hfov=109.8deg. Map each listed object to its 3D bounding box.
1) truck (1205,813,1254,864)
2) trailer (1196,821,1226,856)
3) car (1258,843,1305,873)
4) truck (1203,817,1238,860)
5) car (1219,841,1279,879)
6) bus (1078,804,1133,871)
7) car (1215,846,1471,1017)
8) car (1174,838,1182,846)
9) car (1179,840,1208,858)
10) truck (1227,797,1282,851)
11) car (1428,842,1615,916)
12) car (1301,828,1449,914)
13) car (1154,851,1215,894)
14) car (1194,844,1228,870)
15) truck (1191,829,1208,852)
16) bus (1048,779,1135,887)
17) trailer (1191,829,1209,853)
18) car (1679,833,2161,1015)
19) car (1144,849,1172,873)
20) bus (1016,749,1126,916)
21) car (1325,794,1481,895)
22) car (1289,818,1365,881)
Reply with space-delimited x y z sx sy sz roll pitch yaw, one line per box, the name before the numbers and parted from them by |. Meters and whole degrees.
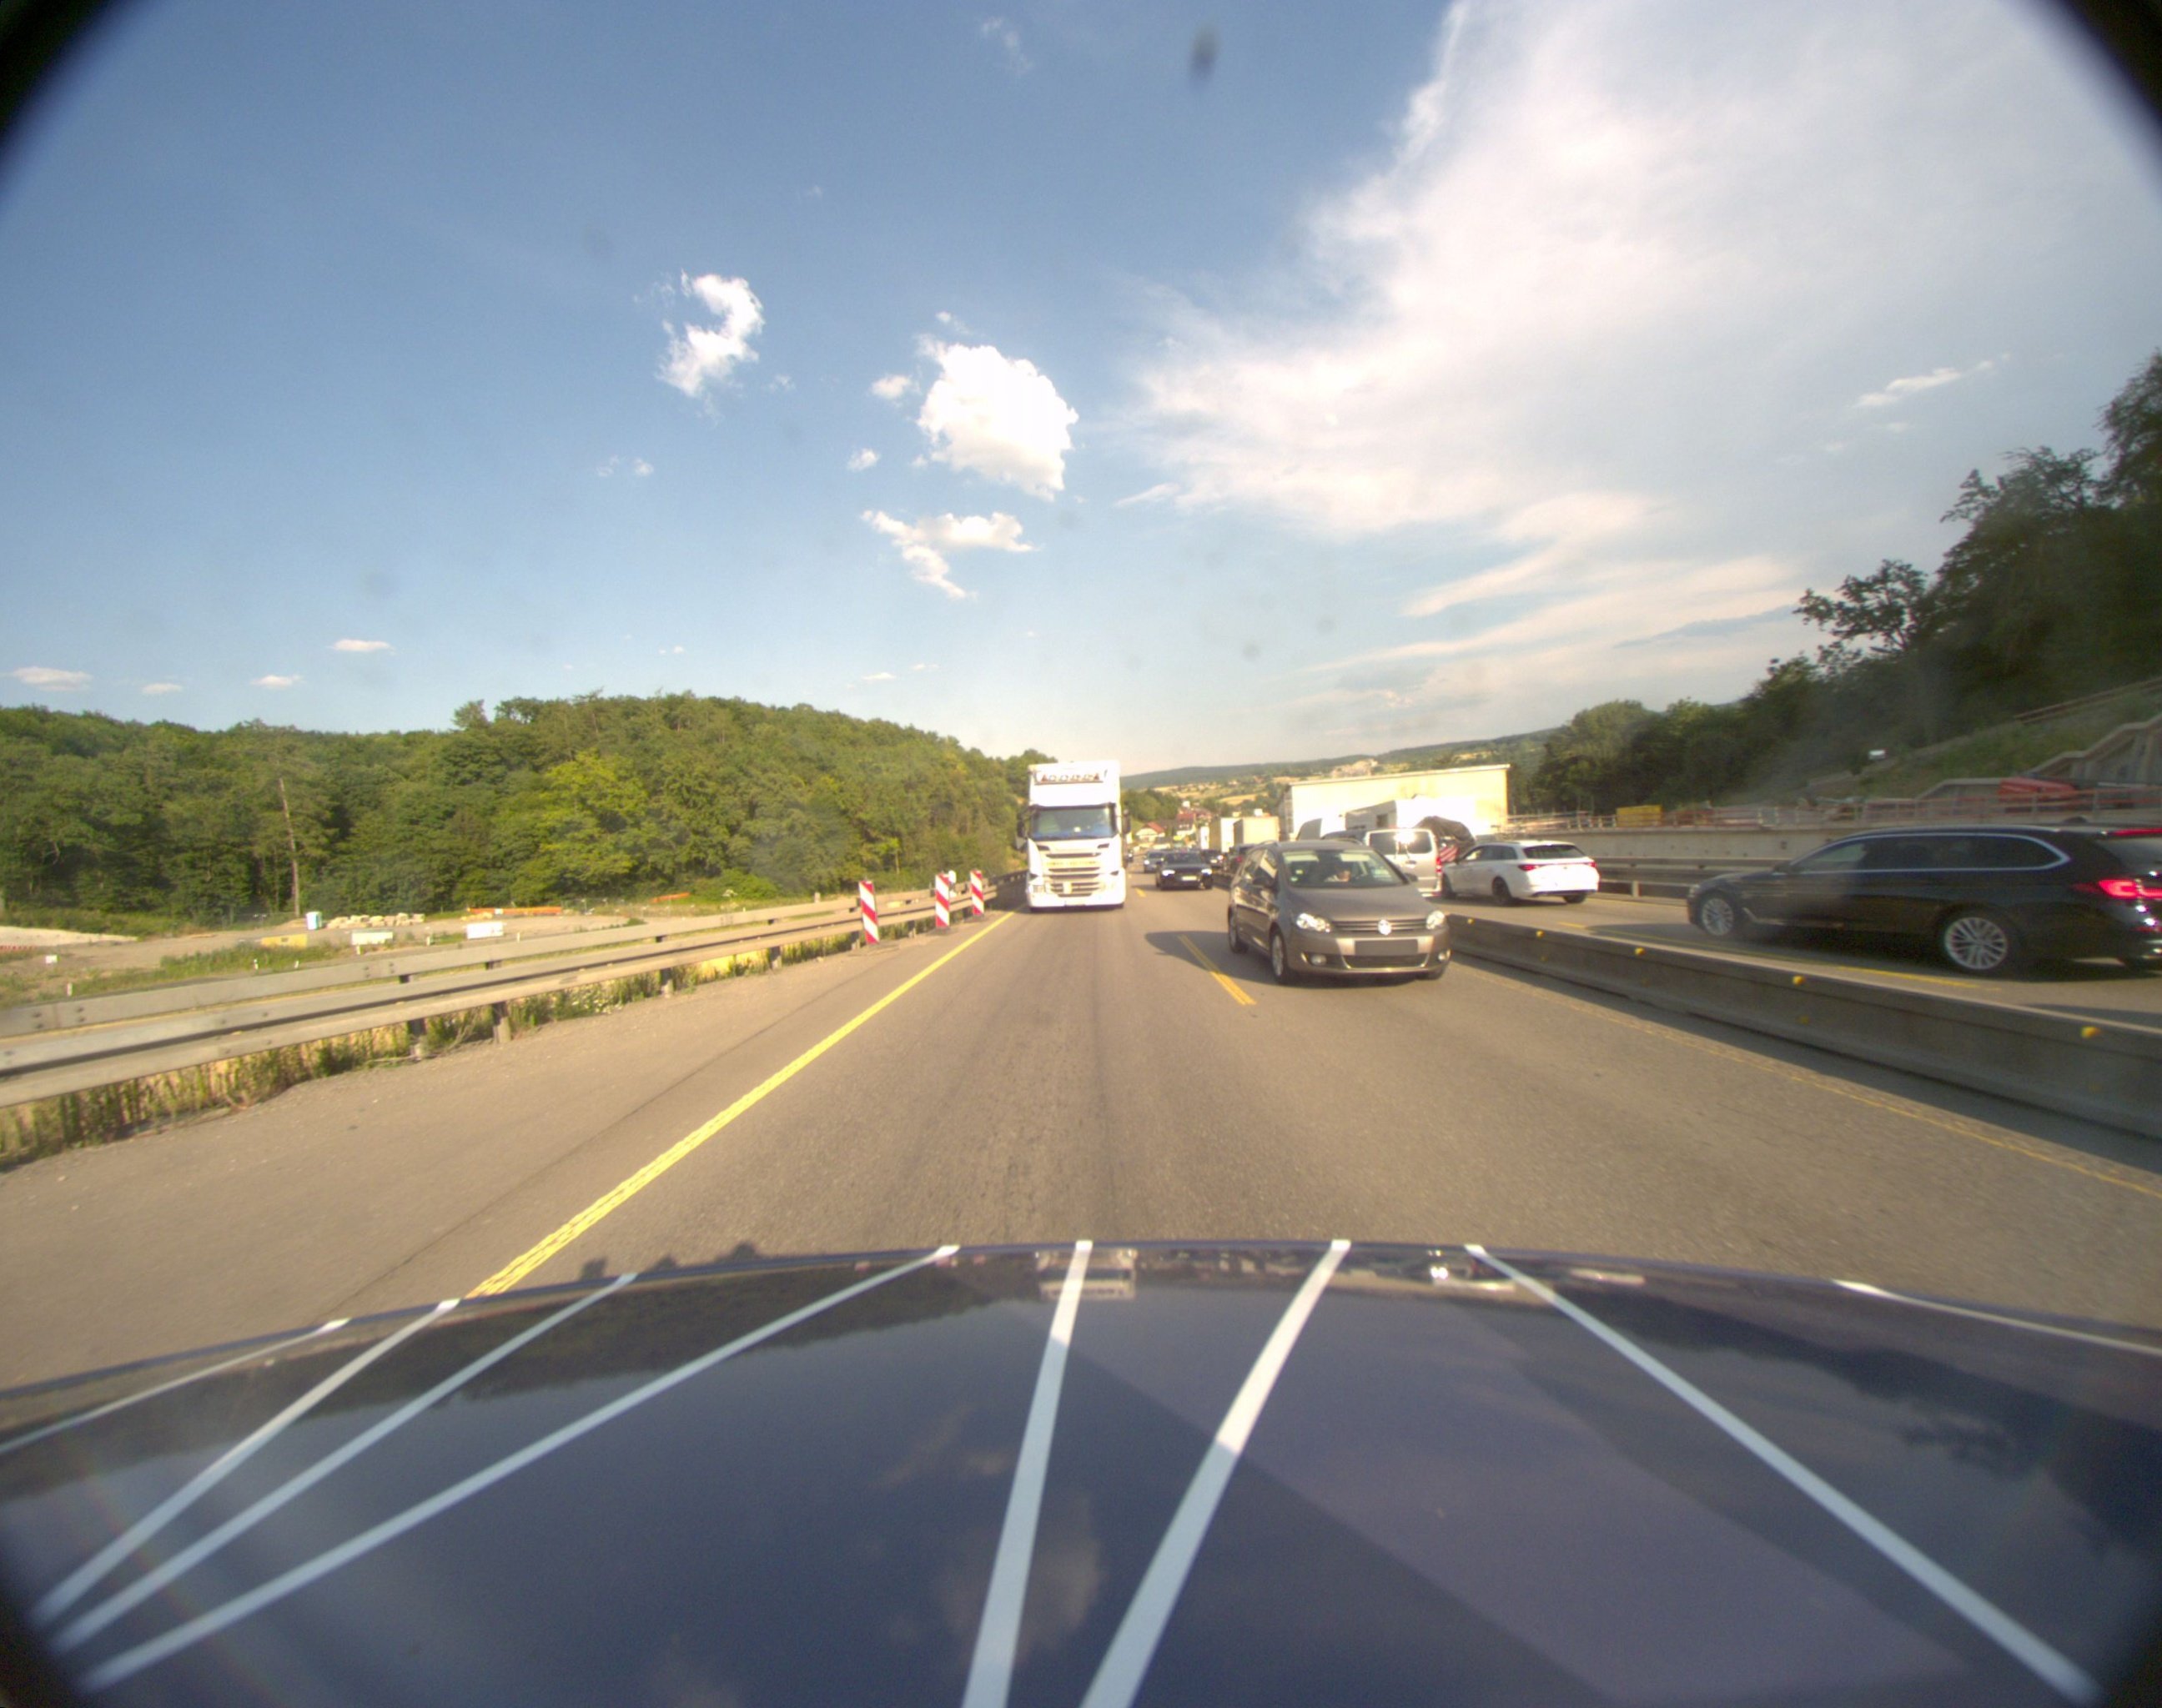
truck | 13.217 -1.388 68.688 2.713 4.065 14.156 -1 1 5
trailer | 16.232 -1.916 95.473 2.863 4.013 13.975 -2 1 7
car | 11.166 0.200 42.629 1.767 1.514 4.003 -2 1 4
truck | 13.763 -1.499 75.511 2.719 4.065 6.102 -1 1 5
car | 7.468 0.283 34.180 1.821 1.569 4.756 0 0 2
bus | 2.050 -1.171 57.860 2.983 4.553 10.909 -2 0 8
car | 2.874 0.720 9.322 1.688 1.565 4.099 -3 1 0
car | 26.533 -3.338 208.131 1.821 1.988 4.756 0 0 2
car | 9.906 -0.393 67.121 2.063 1.478 4.728 1 0 3
truck | 12.176 -2.003 53.926 2.453 3.443 7.618 -2 1 3
car | 9.971 0.471 17.703 1.753 1.414 4.609 -3 1 2
car | 7.091 0.399 19.013 1.809 1.761 5.454 -2 -1 3
car | 3.822 0.640 28.598 1.867 1.391 4.000 -1 1 2
car | 8.695 0.213 51.097 1.786 1.513 4.001 -4 -1 3
truck | 20.663 -2.301 132.875 2.604 3.865 6.205 -2 1 8
bus | 0.802 -0.921 37.686 2.983 4.553 9.972 -2 0 8
trailer | 19.993 -2.217 127.857 2.602 3.858 10.581 -2 1 8
car | 9.417 0.550 8.519 1.747 1.452 4.713 -2 0 1
car | 5.165 0.441 50.584 1.697 1.390 4.002 -3 0 8
bus | 0.062 -0.622 24.380 2.635 4.077 11.314 -1 1 3
car | 10.608 -0.334 25.978 2.340 2.901 7.632 -1 1 2
car | 11.152 -0.243 34.894 1.961 2.606 5.749 -1 1 4
